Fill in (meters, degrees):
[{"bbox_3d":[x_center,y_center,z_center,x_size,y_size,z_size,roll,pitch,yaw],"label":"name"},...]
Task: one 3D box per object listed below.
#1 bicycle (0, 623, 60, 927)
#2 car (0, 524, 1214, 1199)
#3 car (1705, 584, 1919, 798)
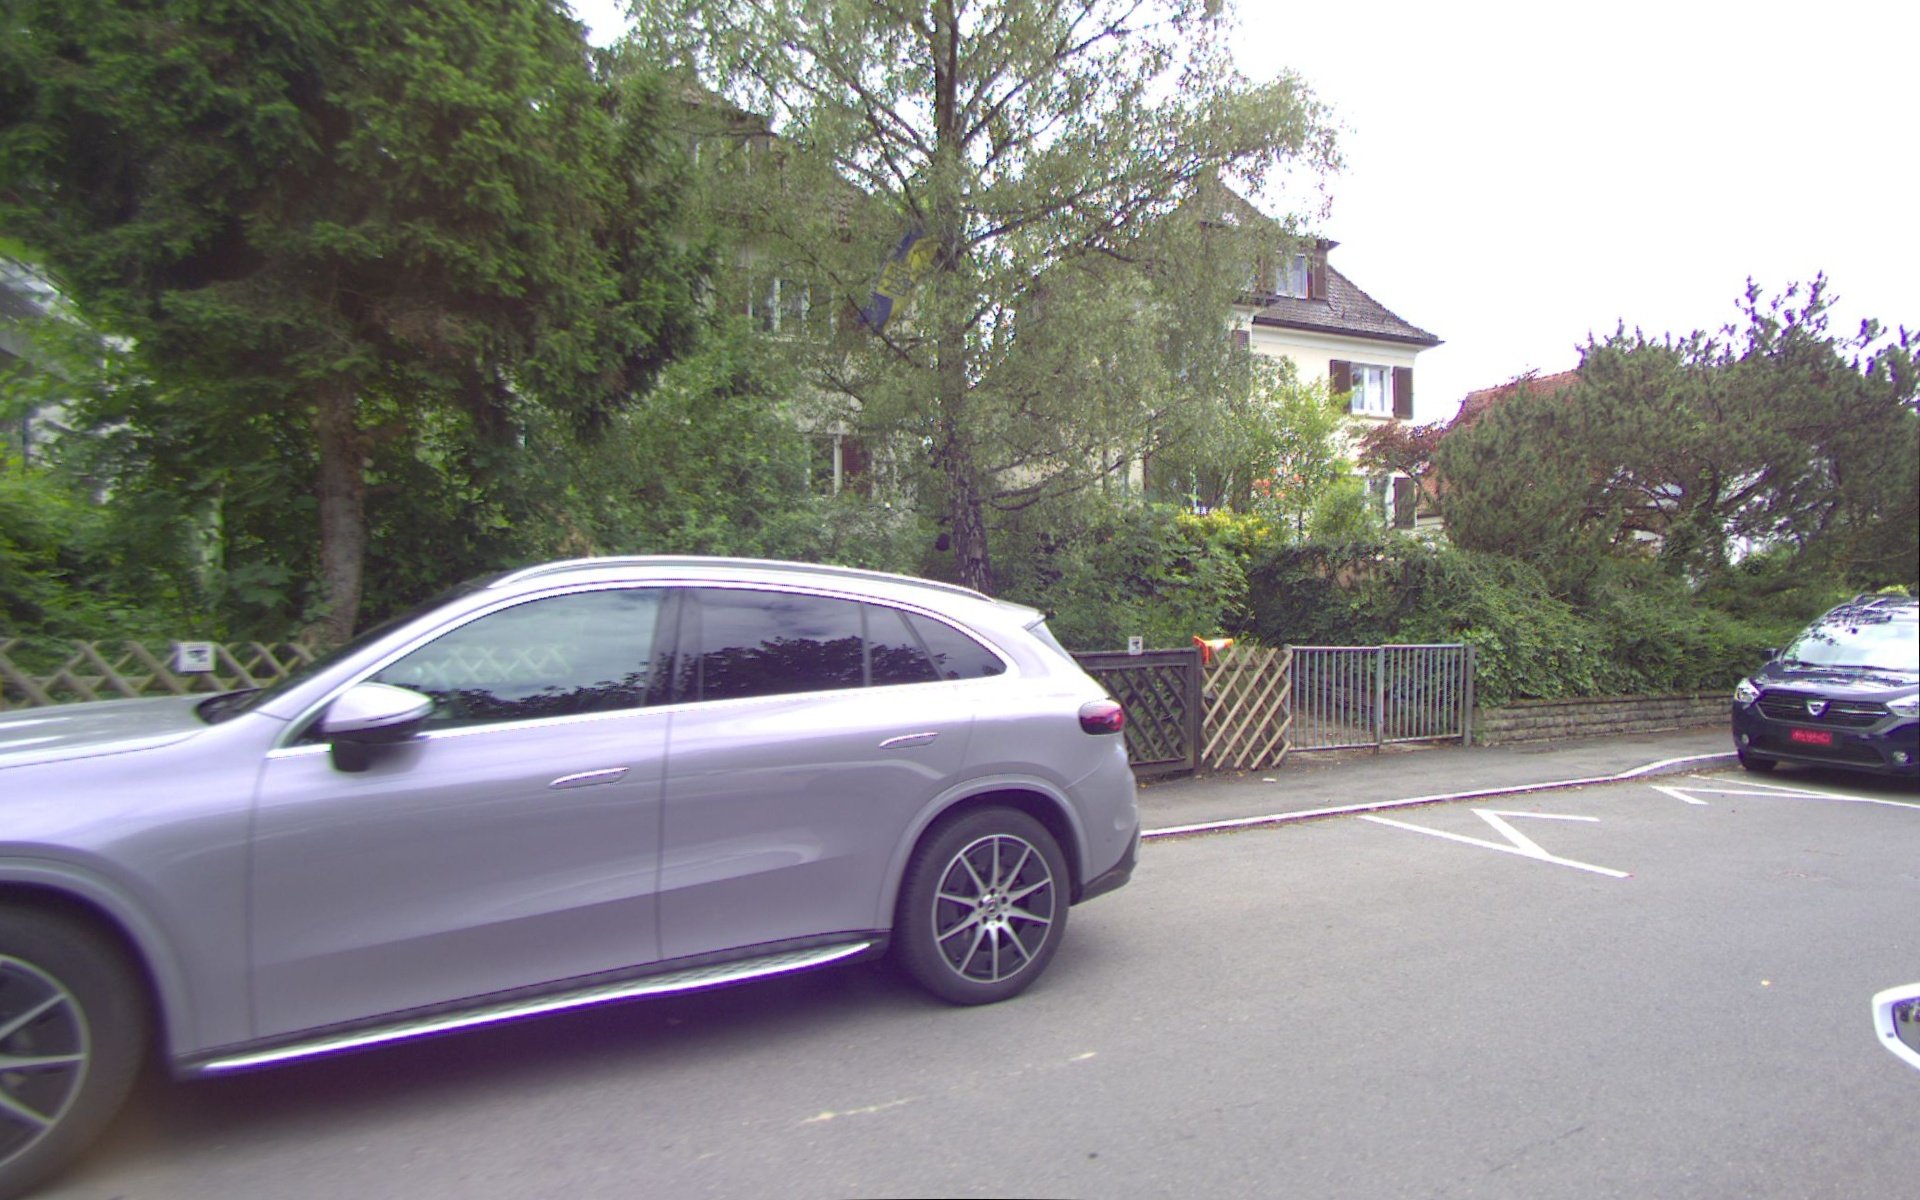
[{"bbox_3d":[-5.210,0.704,3.636,2.687,1.246,1.147,1,-1,-30],"label":"bicycle"},{"bbox_3d":[-1.410,0.665,3.824,4.673,1.628,1.788,1,-1,-29],"label":"car"},{"bbox_3d":[9.681,0.813,10.254,4.244,1.823,1.700,1,0,-28],"label":"car"}]
